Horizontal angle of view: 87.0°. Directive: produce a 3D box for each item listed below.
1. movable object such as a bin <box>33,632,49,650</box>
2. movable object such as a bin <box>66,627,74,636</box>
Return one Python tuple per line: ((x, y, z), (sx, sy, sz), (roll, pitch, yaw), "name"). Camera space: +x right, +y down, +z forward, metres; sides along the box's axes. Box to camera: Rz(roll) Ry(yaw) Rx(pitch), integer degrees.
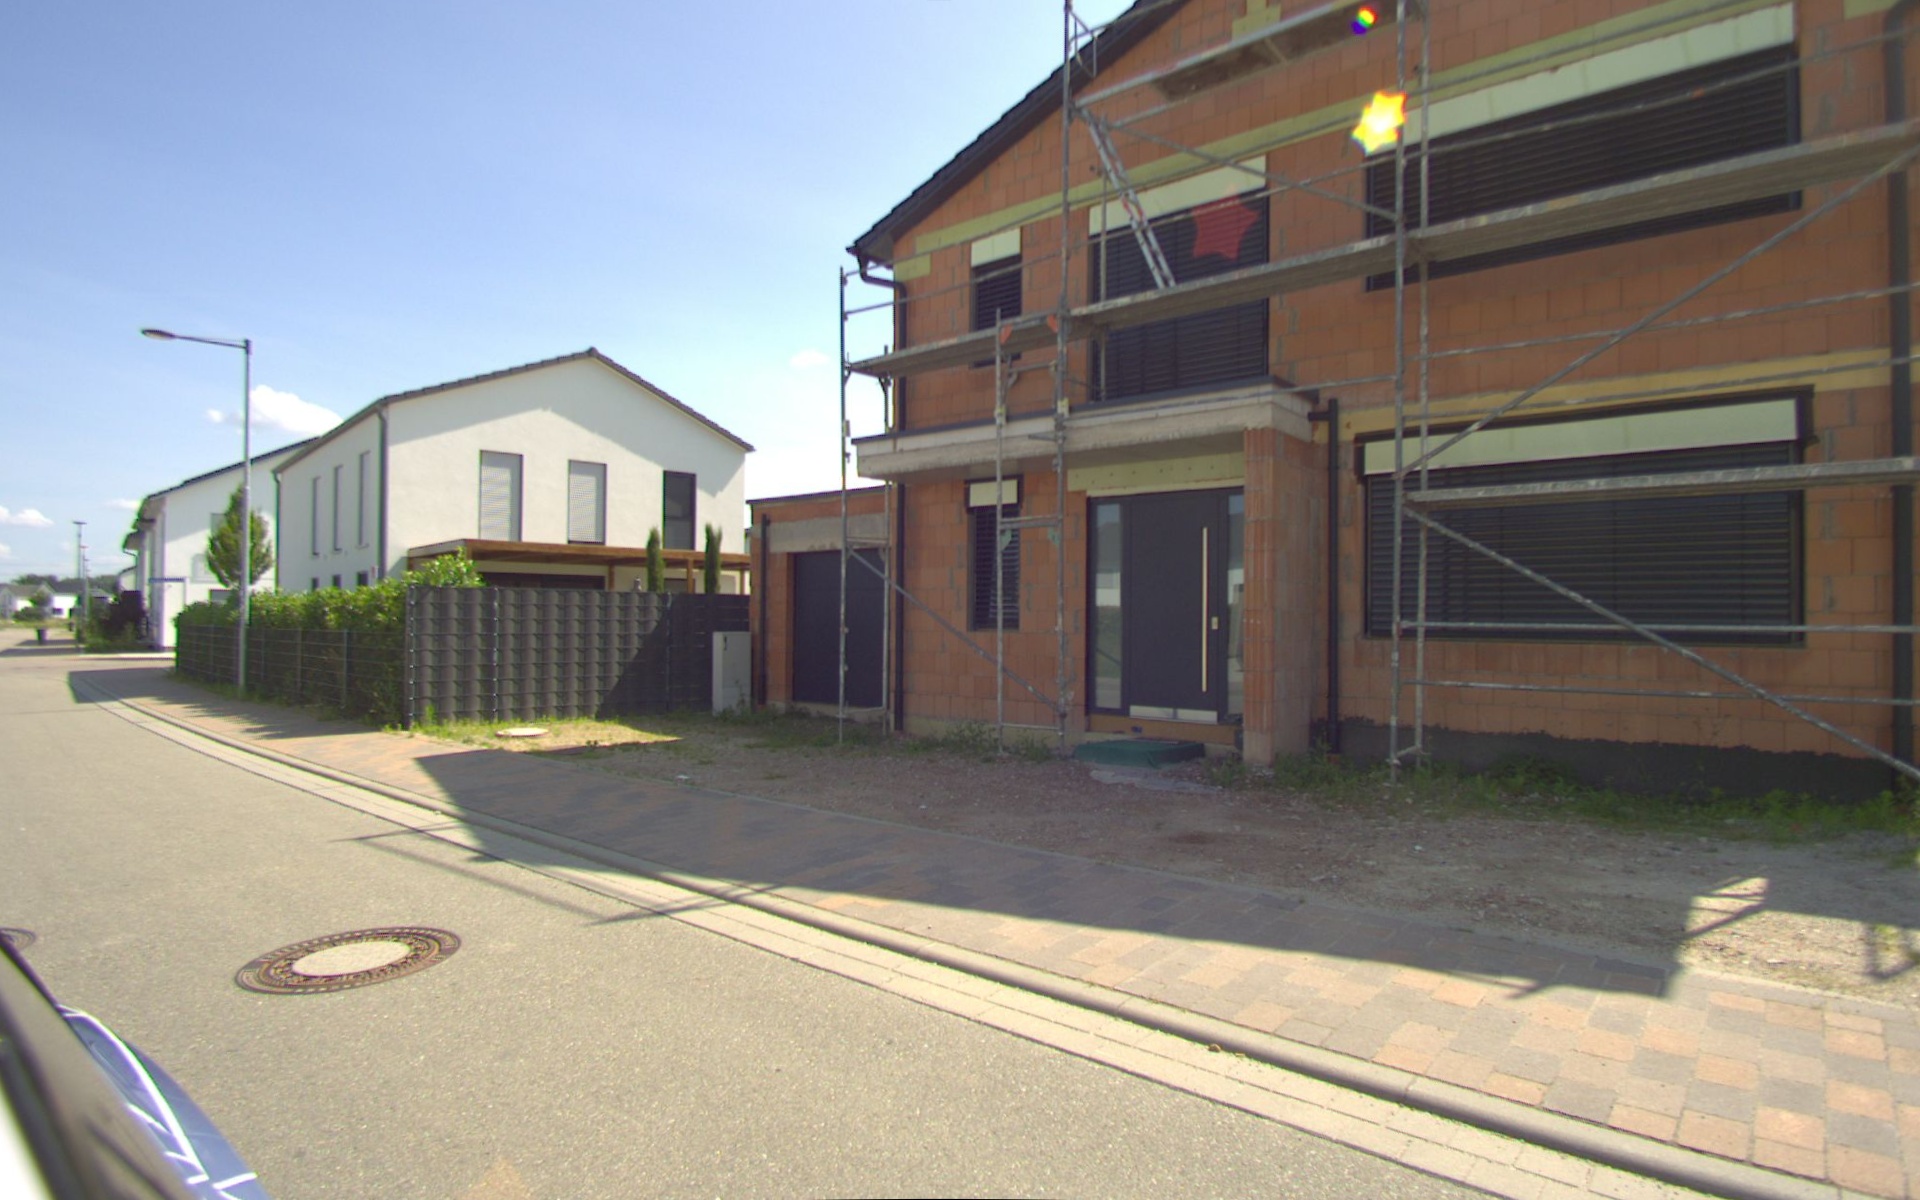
((-48.483, 2.154, 53.371), (0.588, 0.928, 0.462), (1, -2, -40), "movable object such as a bin")
((-94.735, 3.343, 107.732), (0.588, 0.928, 0.462), (1, -2, -40), "movable object such as a bin")
